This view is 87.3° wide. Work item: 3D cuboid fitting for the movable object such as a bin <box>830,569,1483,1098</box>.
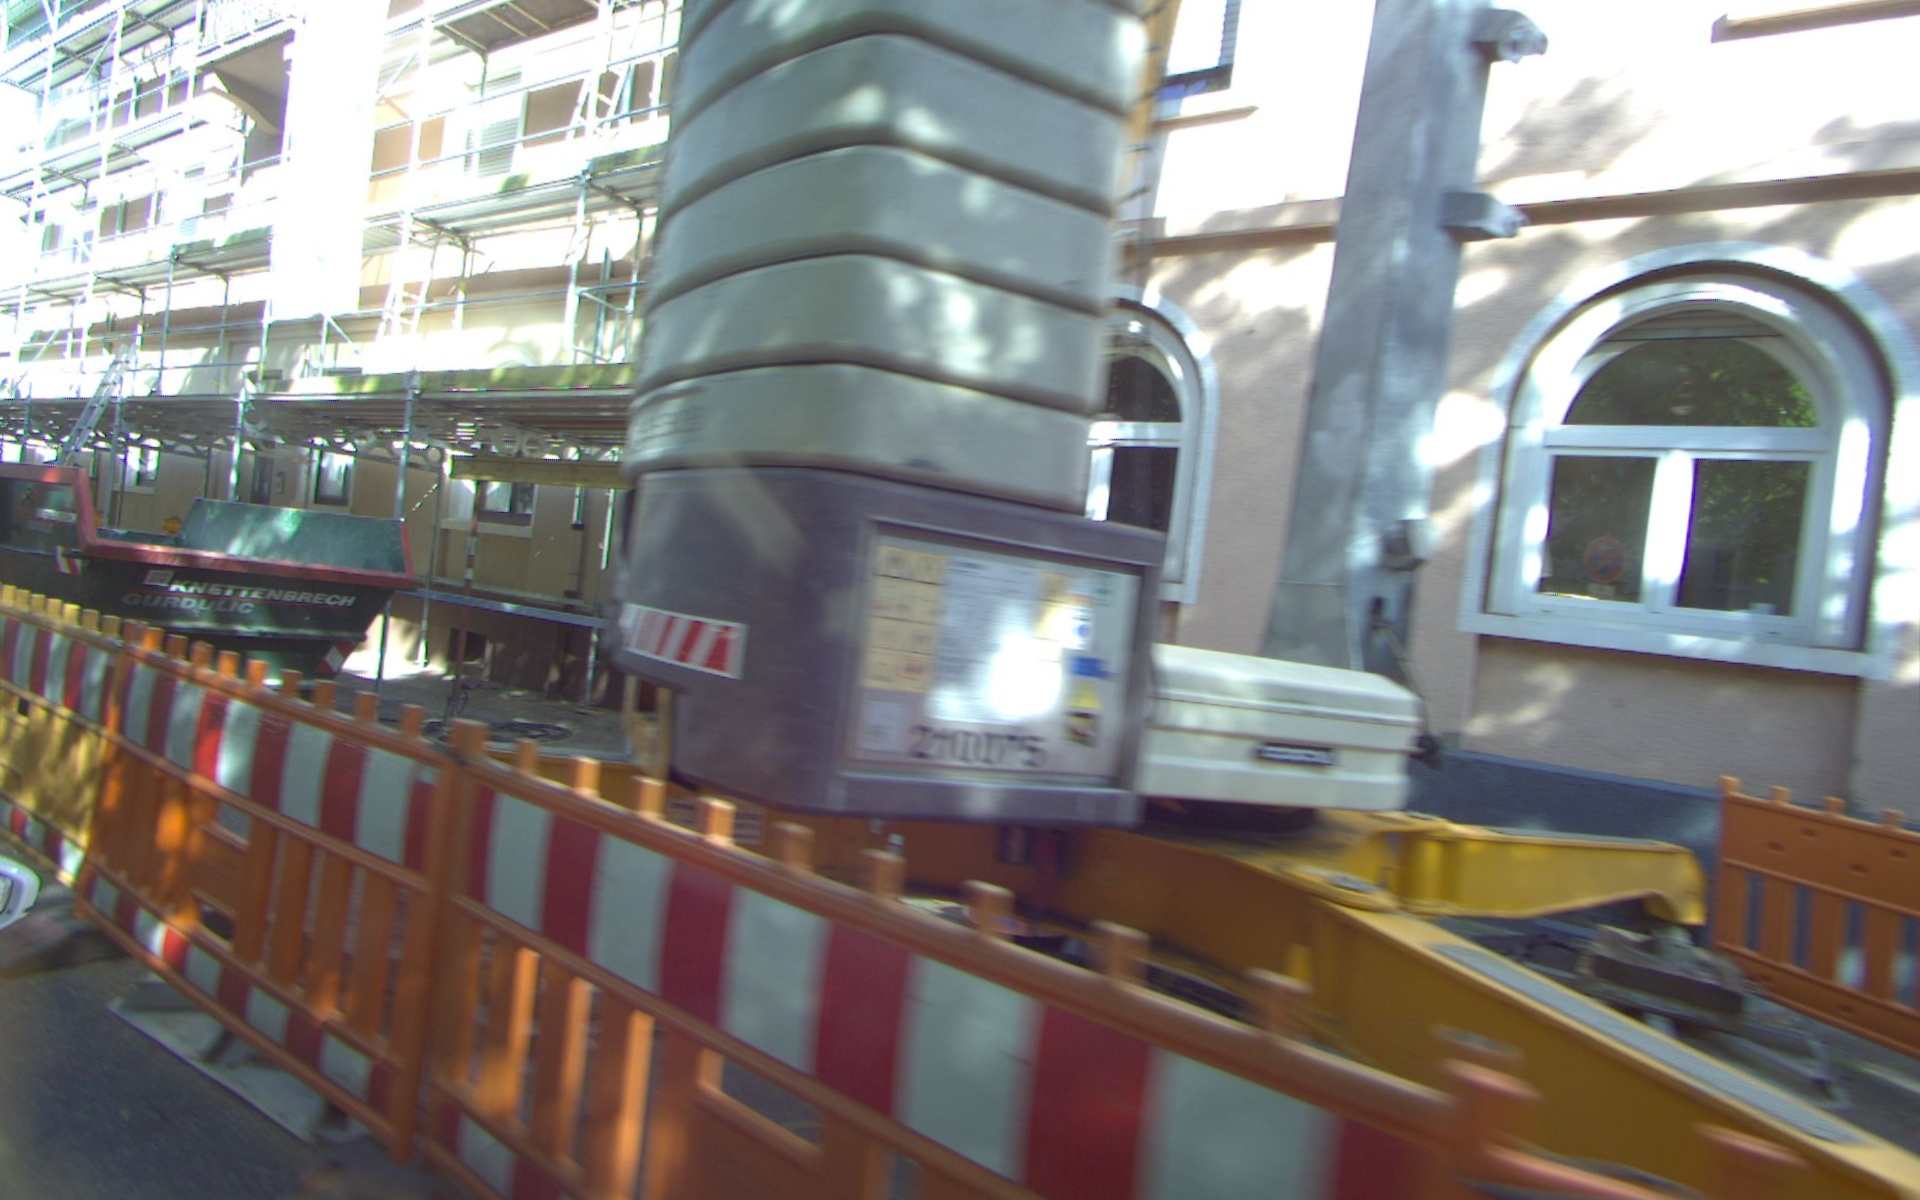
[{"bbox_3d":[0.670,0.770,4.054,1.853,1.545,1.619,7,0,-24],"label":"movable object such as a bin"}]
